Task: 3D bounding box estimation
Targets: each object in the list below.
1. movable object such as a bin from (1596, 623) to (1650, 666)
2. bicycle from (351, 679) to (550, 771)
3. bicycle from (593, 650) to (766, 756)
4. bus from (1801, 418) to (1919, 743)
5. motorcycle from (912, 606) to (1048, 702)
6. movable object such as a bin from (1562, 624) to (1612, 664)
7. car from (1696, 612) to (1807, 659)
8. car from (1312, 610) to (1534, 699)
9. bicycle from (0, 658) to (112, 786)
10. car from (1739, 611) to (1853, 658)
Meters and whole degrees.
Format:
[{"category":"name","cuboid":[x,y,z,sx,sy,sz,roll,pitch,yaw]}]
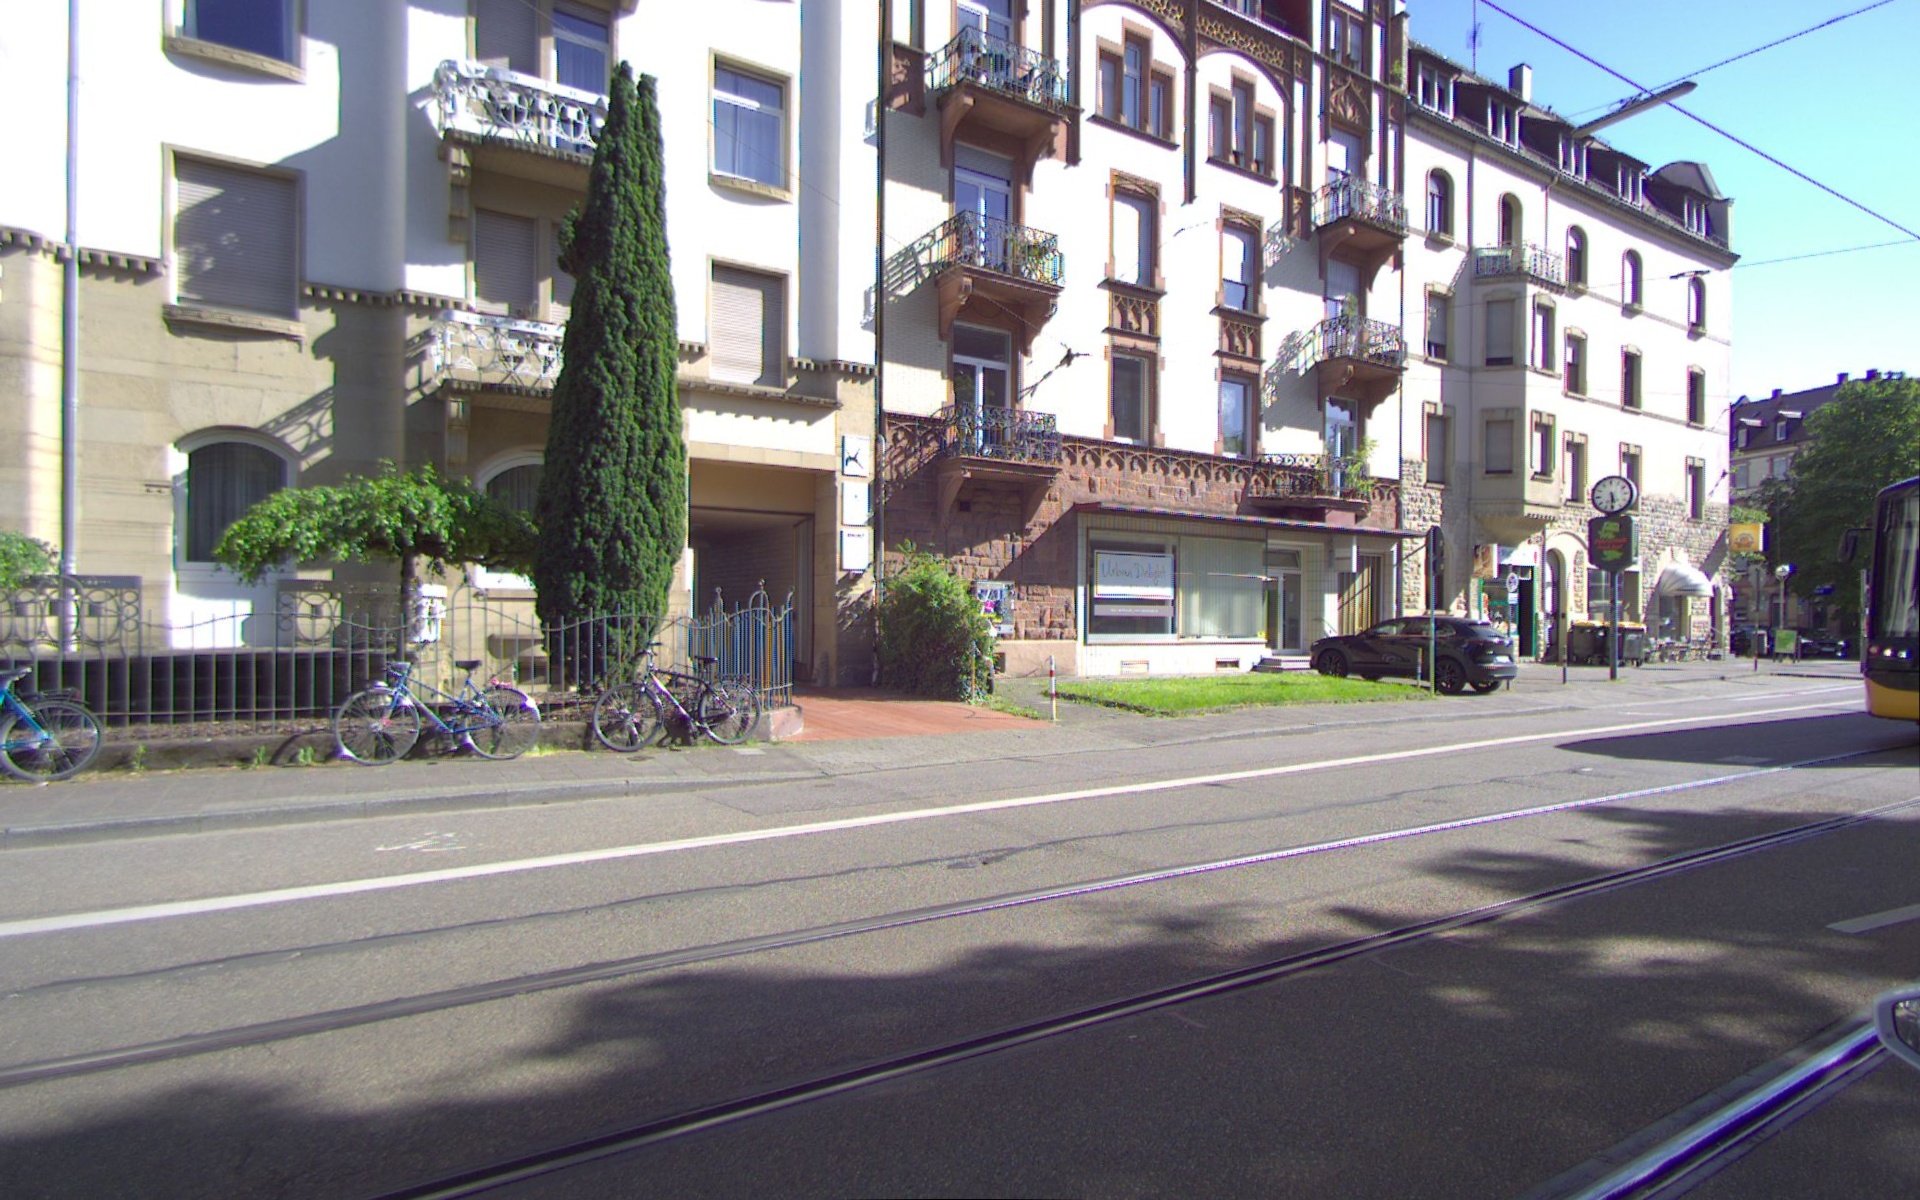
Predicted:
[{"category":"movable object such as a bin","cuboid":[20.679,1.395,31.318,1.128,1.290,0.942,2,0,-26]},{"category":"bicycle","cuboid":[-4.760,1.151,9.458,1.633,0.772,0.316,2,0,-31]},{"category":"bicycle","cuboid":[-3.004,1.080,10.843,1.728,1.053,0.402,2,0,-31]},{"category":"bus","cuboid":[16.239,-0.069,14.614,11.373,3.827,2.843,2,0,-33]},{"category":"motorcycle","cuboid":[0.275,0.885,17.625,0.814,1.476,3.067,2,0,-32]},{"category":"movable object such as a bin","cuboid":[19.975,1.394,31.978,1.228,1.239,0.829,2,0,-28]},{"category":"car","cuboid":[37.067,1.605,47.197,1.961,2.040,3.999,2,0,-1]},{"category":"car","cuboid":[9.861,1.099,21.650,1.755,1.523,3.958,2,1,-36]},{"category":"bicycle","cuboid":[-7.706,0.938,7.736,1.728,0.955,0.402,2,0,-31]},{"category":"car","cuboid":[39.313,1.588,47.372,1.961,2.040,3.999,2,0,-1]}]
